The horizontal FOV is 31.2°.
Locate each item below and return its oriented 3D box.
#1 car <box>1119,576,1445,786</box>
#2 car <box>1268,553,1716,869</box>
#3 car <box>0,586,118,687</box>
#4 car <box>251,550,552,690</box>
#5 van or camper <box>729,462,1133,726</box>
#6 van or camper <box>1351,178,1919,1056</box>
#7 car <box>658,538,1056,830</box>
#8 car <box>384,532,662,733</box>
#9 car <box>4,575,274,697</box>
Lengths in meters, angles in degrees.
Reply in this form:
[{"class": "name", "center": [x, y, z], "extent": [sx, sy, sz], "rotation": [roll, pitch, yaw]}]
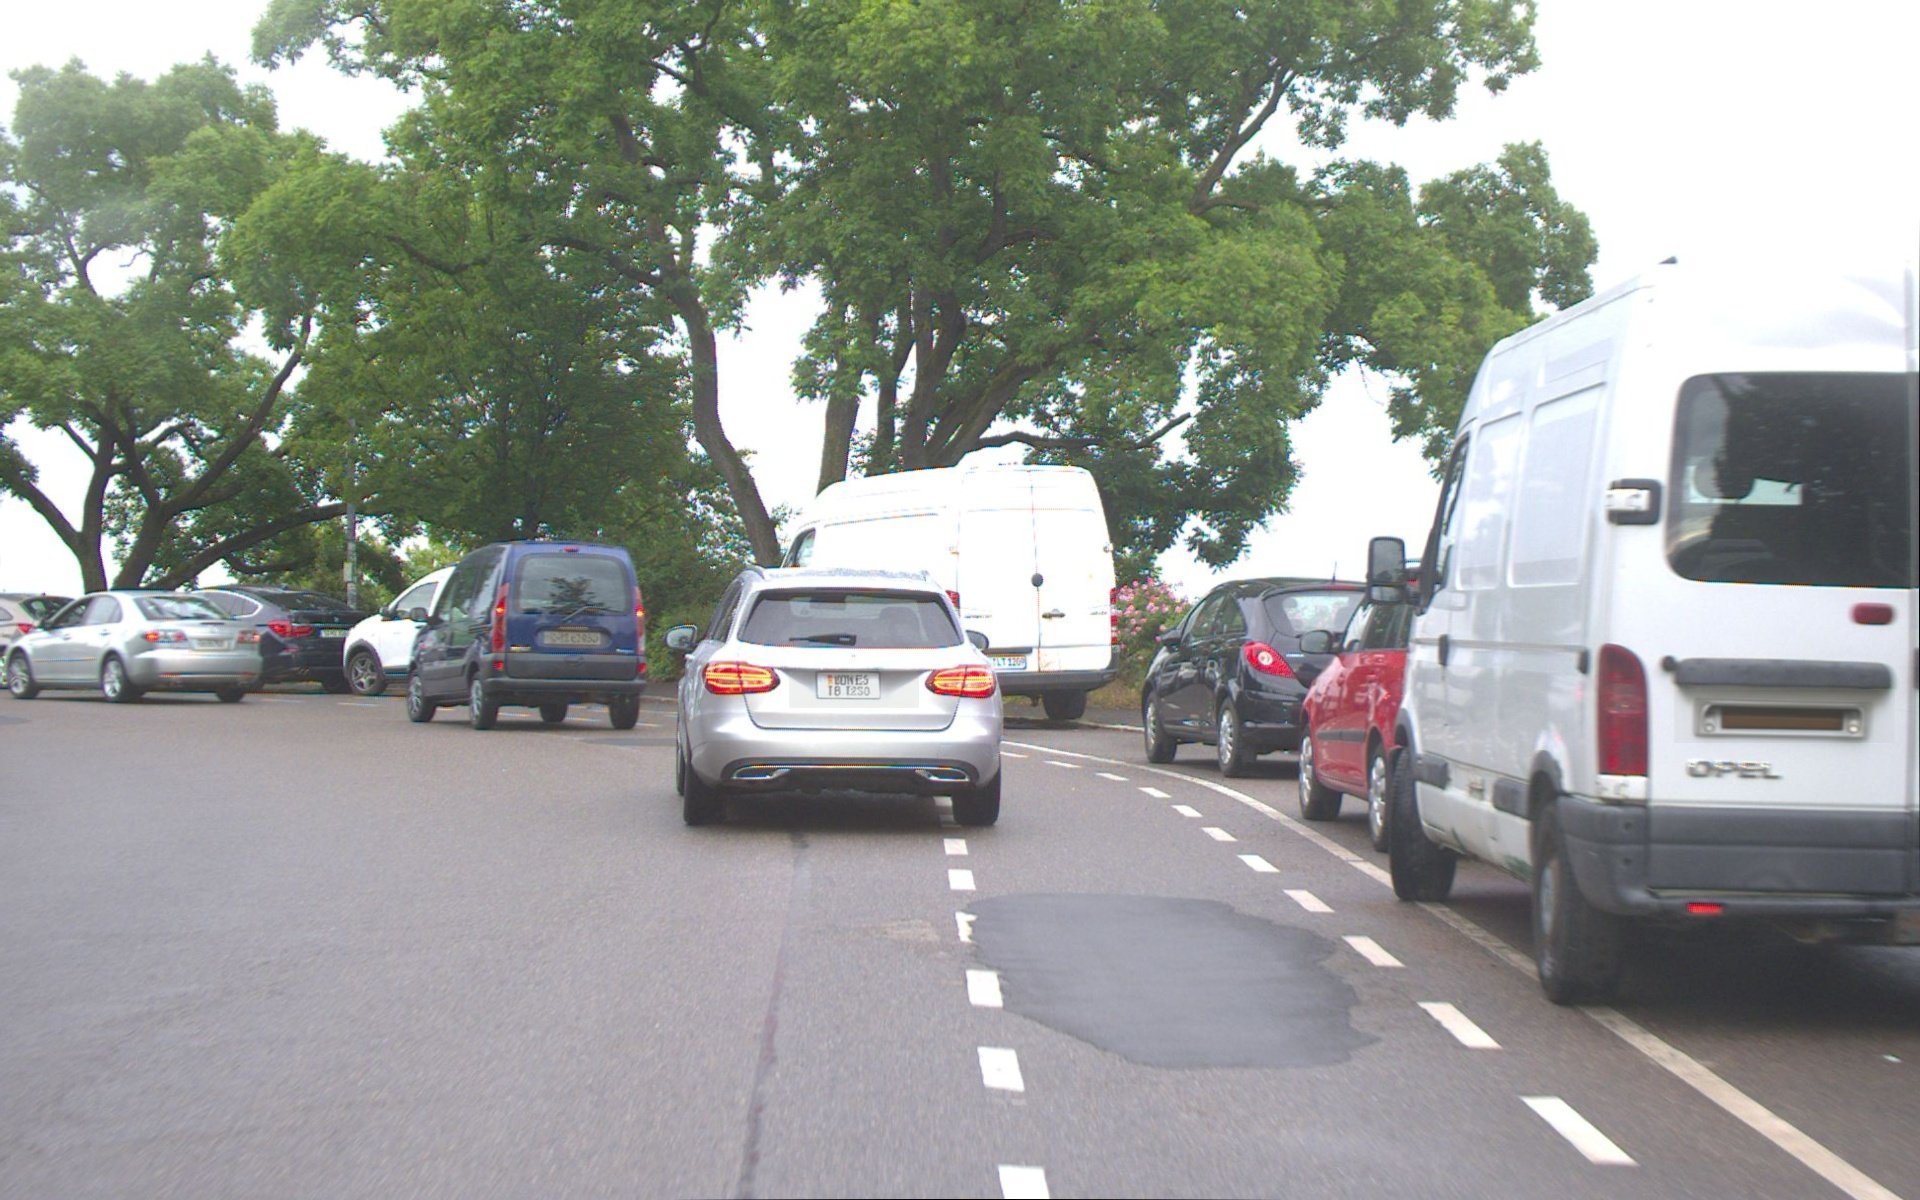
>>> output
[{"class": "car", "center": [2.380, 0.555, 26.351], "extent": [1.695, 1.439, 3.948], "rotation": [-1, 1, -7]}, {"class": "car", "center": [2.822, 0.518, 19.099], "extent": [1.620, 1.534, 4.216], "rotation": [-1, 1, -3]}, {"class": "car", "center": [-15.196, 0.546, 53.619], "extent": [4.130, 1.498, 1.736], "rotation": [0, 1, 36]}, {"class": "car", "center": [-7.689, 0.251, 47.068], "extent": [4.420, 1.815, 1.748], "rotation": [0, 1, 44]}, {"class": "van or camper", "center": [-0.443, -0.106, 36.599], "extent": [2.066, 2.572, 5.889], "rotation": [-1, 1, -24]}, {"class": "van or camper", "center": [2.902, 0.012, 13.241], "extent": [2.074, 2.652, 5.596], "rotation": [1, 1, 0]}, {"class": "car", "center": [-0.729, 0.478, 20.493], "extent": [1.982, 1.548, 4.298], "rotation": [1, -1, -7]}, {"class": "car", "center": [-4.476, 0.279, 34.711], "extent": [1.823, 1.876, 4.096], "rotation": [-1, 1, -21]}, {"class": "car", "center": [-10.522, 0.426, 43.882], "extent": [1.854, 1.453, 4.094], "rotation": [-1, 1, -37]}]
